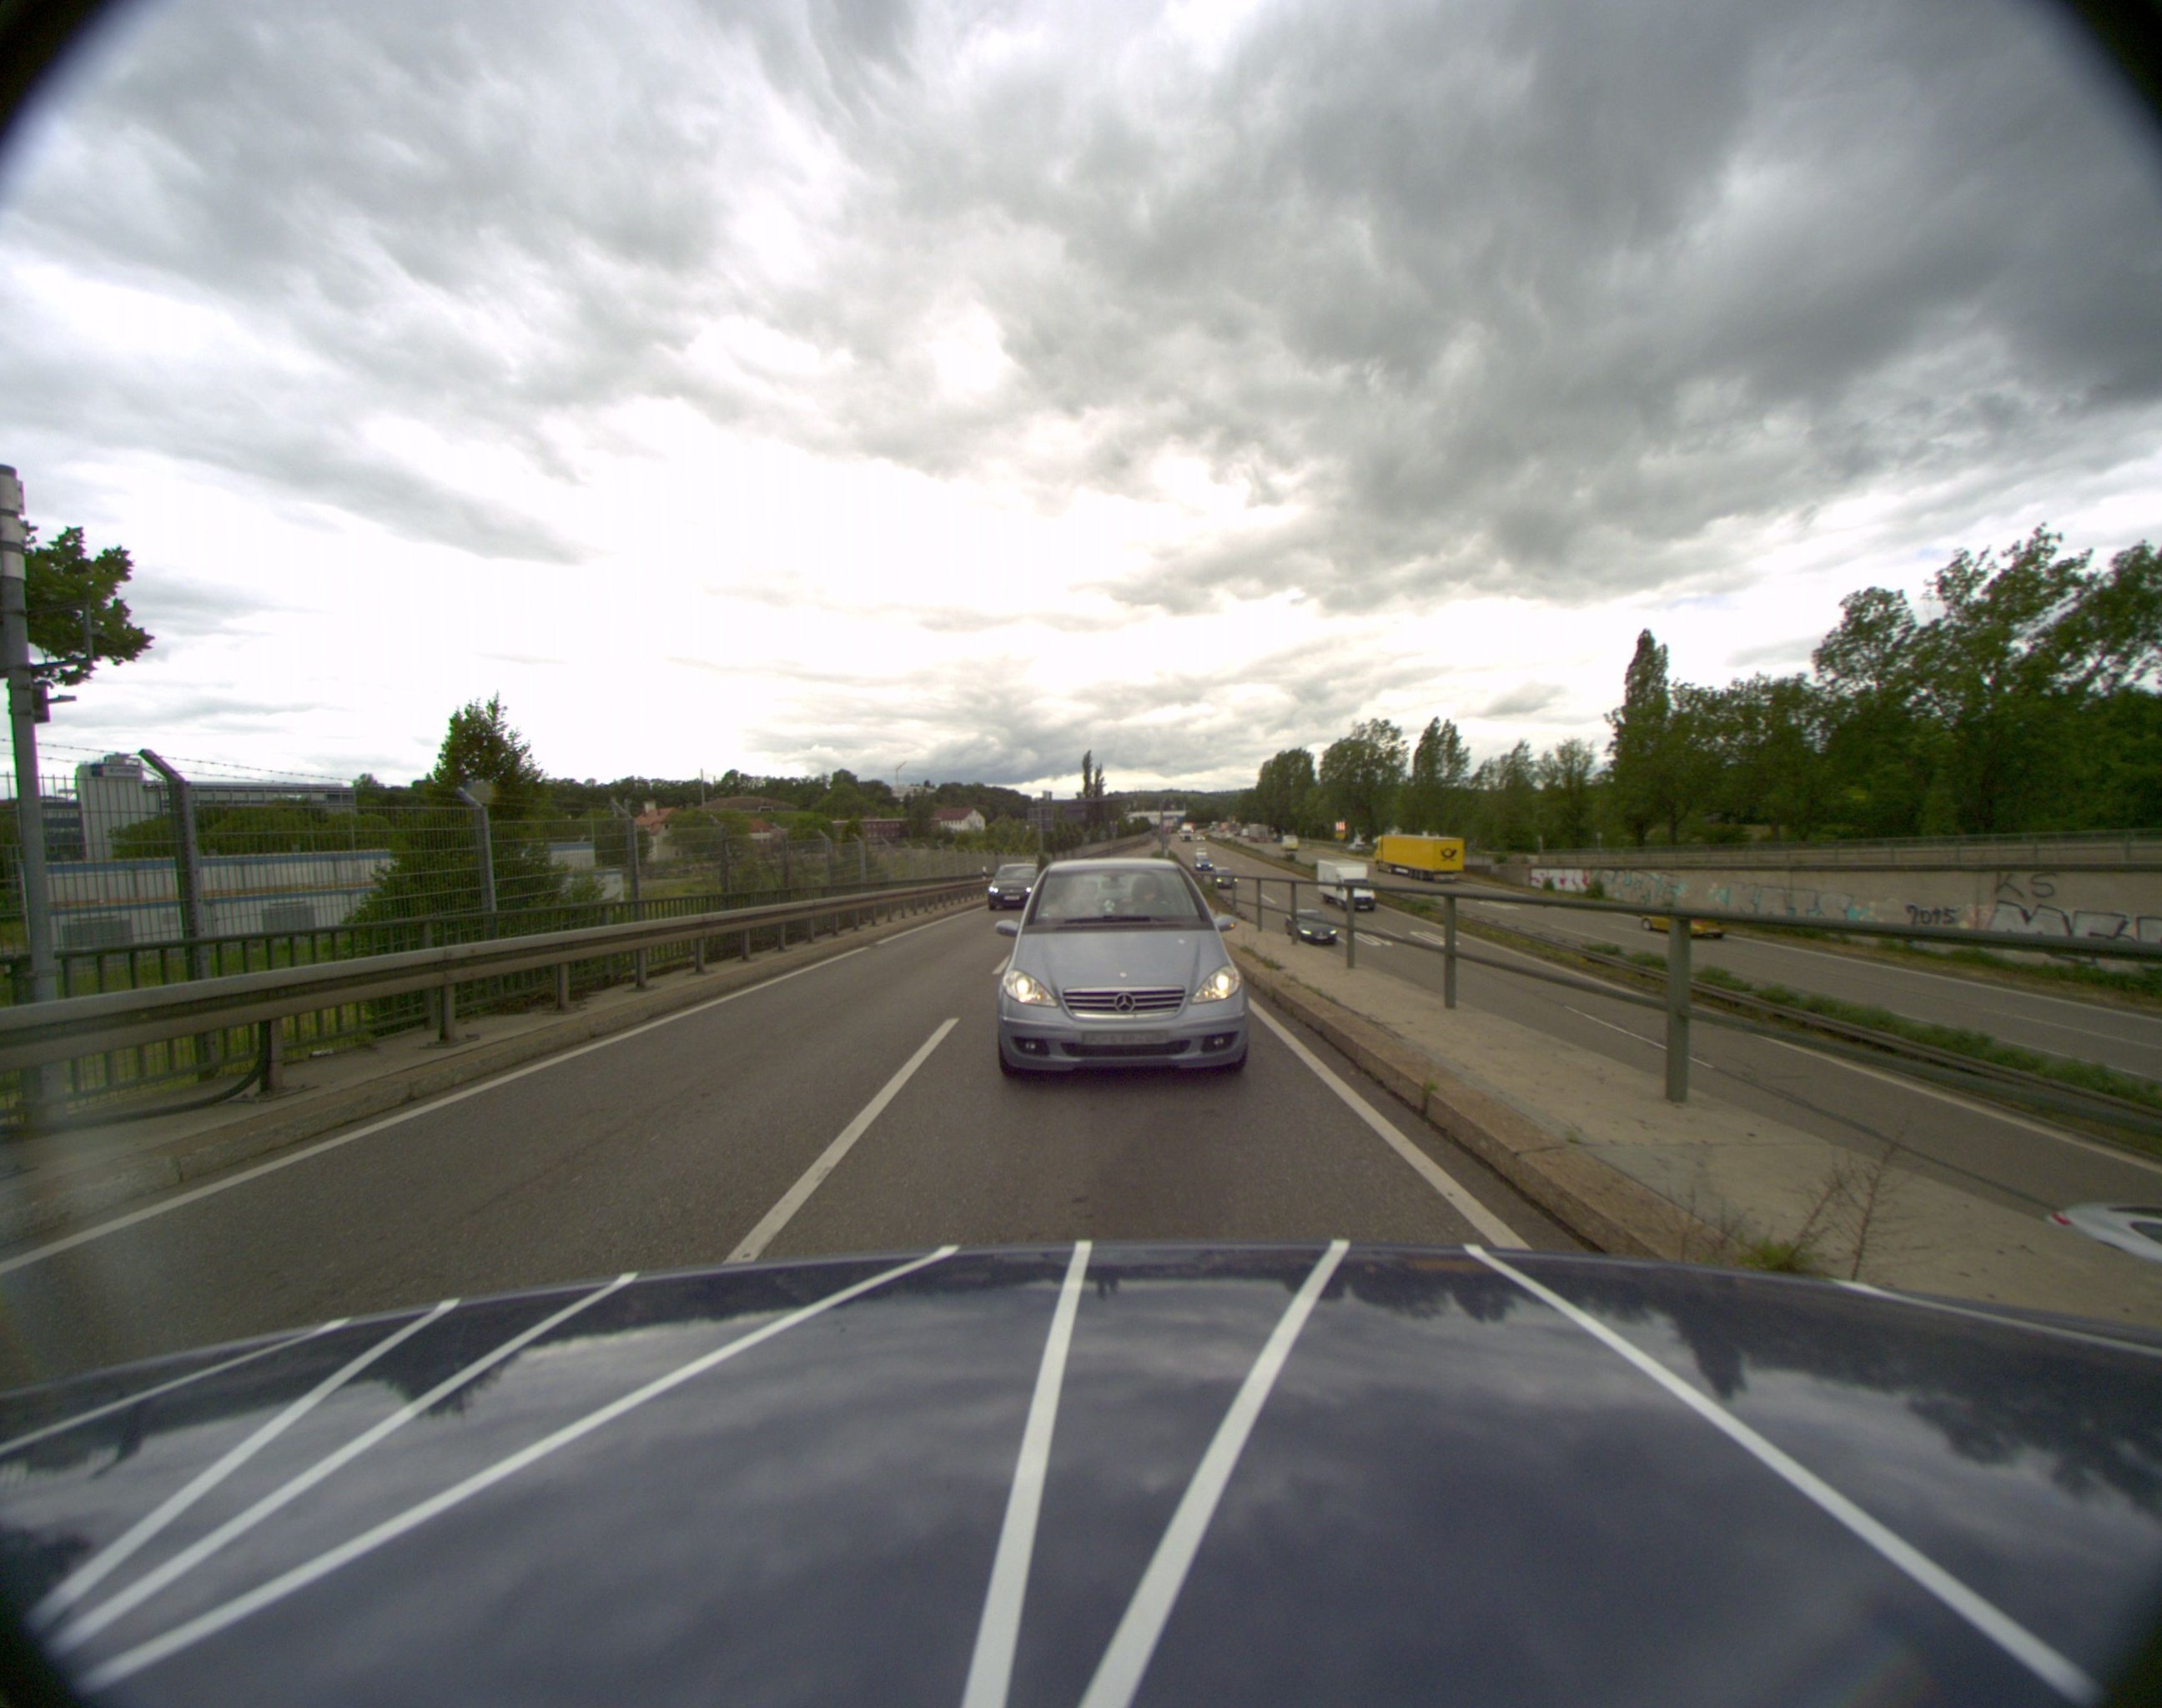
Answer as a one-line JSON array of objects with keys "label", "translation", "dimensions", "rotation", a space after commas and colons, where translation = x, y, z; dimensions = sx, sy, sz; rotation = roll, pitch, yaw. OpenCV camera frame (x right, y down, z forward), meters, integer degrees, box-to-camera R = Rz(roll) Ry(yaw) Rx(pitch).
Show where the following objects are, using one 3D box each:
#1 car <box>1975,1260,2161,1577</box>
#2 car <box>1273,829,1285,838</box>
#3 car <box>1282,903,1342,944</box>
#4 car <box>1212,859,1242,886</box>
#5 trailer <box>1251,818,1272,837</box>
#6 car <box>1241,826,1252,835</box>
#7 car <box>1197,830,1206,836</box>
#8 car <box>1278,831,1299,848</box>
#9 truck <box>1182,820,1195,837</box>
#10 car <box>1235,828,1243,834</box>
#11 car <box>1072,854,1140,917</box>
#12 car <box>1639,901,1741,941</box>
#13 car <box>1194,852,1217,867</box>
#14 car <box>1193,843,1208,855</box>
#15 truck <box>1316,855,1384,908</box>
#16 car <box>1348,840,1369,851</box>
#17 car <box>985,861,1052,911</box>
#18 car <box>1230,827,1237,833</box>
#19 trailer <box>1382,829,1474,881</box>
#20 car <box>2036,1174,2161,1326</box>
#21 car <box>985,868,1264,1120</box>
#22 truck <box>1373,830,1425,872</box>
[{"label": "car", "translation": [9.689, 4.935, 5.125], "dimensions": [1.999, 1.830, 4.422], "rotation": [-1, 3, 0]}, {"label": "car", "translation": [47.315, -4.853, 181.566], "dimensions": [1.998, 1.890, 4.583], "rotation": [2, 3, 5]}, {"label": "car", "translation": [11.538, 3.428, 38.204], "dimensions": [1.828, 1.443, 4.125], "rotation": [0, 3, 1]}, {"label": "car", "translation": [12.631, 1.571, 66.080], "dimensions": [1.998, 2.003, 3.999], "rotation": [1, 3, 3]}, {"label": "trailer", "translation": [42.343, -6.288, 179.000], "dimensions": [2.793, 4.117, 13.760], "rotation": [-1, 3, 5]}, {"label": "car", "translation": [50.707, -7.353, 232.836], "dimensions": [1.998, 2.635, 5.179], "rotation": [2, 3, 2]}, {"label": "car", "translation": [31.257, -5.487, 197.421], "dimensions": [1.854, 1.562, 4.436], "rotation": [-1, 4, 2]}, {"label": "car", "translation": [35.572, -2.490, 130.599], "dimensions": [1.998, 2.614, 6.711], "rotation": [1, 3, 3]}, {"label": "truck", "translation": [26.936, -6.345, 190.363], "dimensions": [3.009, 4.087, 5.873], "rotation": [0, 3, 5]}, {"label": "car", "translation": [52.616, -7.559, 253.095], "dimensions": [1.886, 1.807, 4.560], "rotation": [2, 3, 2]}, {"label": "car", "translation": [0.725, 0.928, 23.305], "dimensions": [1.830, 1.701, 4.001], "rotation": [-2, -1, 1]}, {"label": "car", "translation": [30.892, 3.353, 38.744], "dimensions": [1.872, 1.449, 4.151], "rotation": [-1, 3, 1]}, {"label": "car", "translation": [14.260, 0.641, 86.906], "dimensions": [1.998, 1.524, 3.998], "rotation": [0, 3, 1]}, {"label": "car", "translation": [17.150, -0.705, 109.098], "dimensions": [1.769, 1.520, 3.335], "rotation": [0, 3, 3]}, {"label": "truck", "translation": [18.296, 1.779, 52.107], "dimensions": [2.238, 2.993, 7.228], "rotation": [-1, 3, 1]}, {"label": "car", "translation": [43.531, -1.341, 119.411], "dimensions": [1.897, 1.643, 4.377], "rotation": [-3, 2, 3]}, {"label": "car", "translation": [-2.203, 1.107, 27.832], "dimensions": [1.800, 1.643, 4.152], "rotation": [-2, -1, 3]}, {"label": "car", "translation": [44.506, -7.017, 221.881], "dimensions": [1.682, 1.412, 3.999], "rotation": [0, 3, 4]}, {"label": "trailer", "translation": [33.015, -0.111, 73.182], "dimensions": [3.248, 4.239, 13.675], "rotation": [0, 3, 3]}, {"label": "car", "translation": [13.971, 5.126, 8.318], "dimensions": [1.789, 1.294, 4.151], "rotation": [0, 3, 2]}, {"label": "car", "translation": [0.309, 0.917, 6.784], "dimensions": [1.743, 1.534, 3.993], "rotation": [-1, 0, 1]}, {"label": "truck", "translation": [33.443, -0.420, 80.139], "dimensions": [3.248, 4.159, 5.802], "rotation": [0, 3, 3]}]
